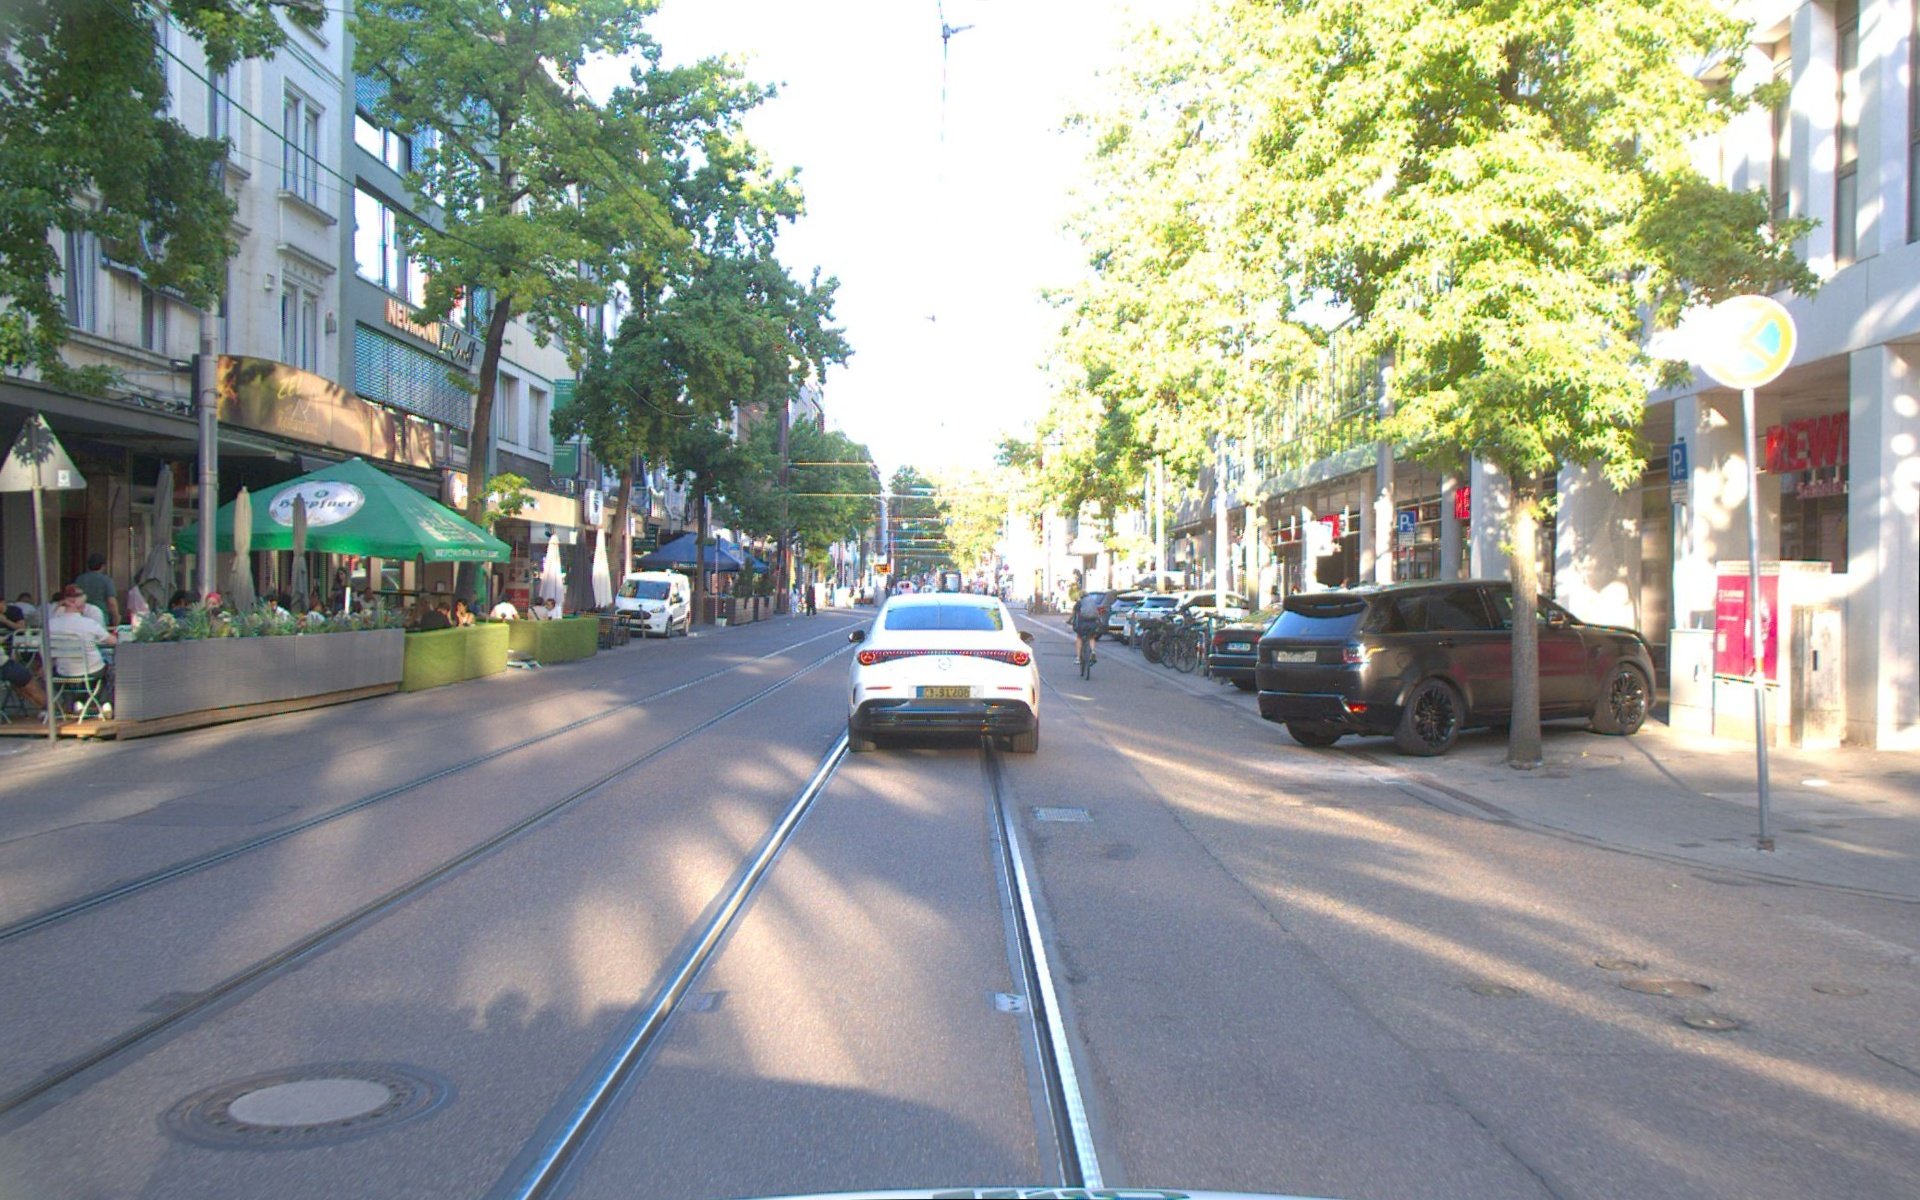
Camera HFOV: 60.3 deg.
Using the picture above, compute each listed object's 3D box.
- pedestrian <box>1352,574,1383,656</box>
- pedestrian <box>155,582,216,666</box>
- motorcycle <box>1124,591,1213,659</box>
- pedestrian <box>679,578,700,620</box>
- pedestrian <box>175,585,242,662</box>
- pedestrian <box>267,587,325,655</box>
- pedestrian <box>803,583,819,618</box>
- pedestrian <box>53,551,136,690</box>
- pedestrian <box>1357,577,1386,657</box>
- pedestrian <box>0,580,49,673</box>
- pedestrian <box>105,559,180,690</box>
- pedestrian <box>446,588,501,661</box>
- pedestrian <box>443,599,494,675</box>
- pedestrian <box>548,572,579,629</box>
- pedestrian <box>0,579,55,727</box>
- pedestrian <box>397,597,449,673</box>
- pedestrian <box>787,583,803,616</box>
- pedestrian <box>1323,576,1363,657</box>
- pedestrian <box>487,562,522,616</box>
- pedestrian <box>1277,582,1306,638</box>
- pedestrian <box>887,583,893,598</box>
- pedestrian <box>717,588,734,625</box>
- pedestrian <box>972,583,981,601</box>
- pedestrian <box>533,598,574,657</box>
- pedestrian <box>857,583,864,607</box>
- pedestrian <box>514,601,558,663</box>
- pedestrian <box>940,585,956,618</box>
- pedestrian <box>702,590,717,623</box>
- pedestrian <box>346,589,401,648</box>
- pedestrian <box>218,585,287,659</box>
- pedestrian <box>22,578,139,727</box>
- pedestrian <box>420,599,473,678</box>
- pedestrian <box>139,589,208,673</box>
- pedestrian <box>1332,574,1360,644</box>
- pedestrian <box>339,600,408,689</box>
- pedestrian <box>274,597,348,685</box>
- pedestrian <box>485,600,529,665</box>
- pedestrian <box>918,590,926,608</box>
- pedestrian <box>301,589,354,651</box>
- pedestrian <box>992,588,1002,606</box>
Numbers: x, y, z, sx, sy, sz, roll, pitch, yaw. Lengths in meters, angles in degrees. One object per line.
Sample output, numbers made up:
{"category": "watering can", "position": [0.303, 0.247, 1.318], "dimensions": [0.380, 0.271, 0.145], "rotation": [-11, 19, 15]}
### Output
{"category": "pedestrian", "position": [8.941, 0.326, 36.282], "dimensions": [0.512, 1.781, 0.559], "rotation": [-2, 0, 2]}
{"category": "pedestrian", "position": [-12.786, 0.395, 27.329], "dimensions": [0.606, 1.332, 0.697], "rotation": [3, 0, -1]}
{"category": "motorcycle", "position": [5.027, 0.598, 39.819], "dimensions": [2.301, 1.536, 0.845], "rotation": [-2, 0, -44]}
{"category": "pedestrian", "position": [-10.523, -0.041, 64.288], "dimensions": [0.659, 1.635, 0.719], "rotation": [1, 0, -1]}
{"category": "pedestrian", "position": [-12.819, 0.391, 28.237], "dimensions": [0.721, 1.253, 0.788], "rotation": [3, 0, -1]}
{"category": "pedestrian", "position": [-12.659, 0.392, 31.551], "dimensions": [0.721, 1.235, 0.788], "rotation": [3, 0, -1]}
{"category": "pedestrian", "position": [-7.022, 0.022, 77.852], "dimensions": [0.609, 1.577, 0.852], "rotation": [3, 0, 0]}
{"category": "pedestrian", "position": [-11.453, 0.265, 21.908], "dimensions": [0.664, 1.787, 0.697], "rotation": [2, 0, 1]}
{"category": "pedestrian", "position": [9.016, 0.366, 36.260], "dimensions": [0.506, 1.726, 0.550], "rotation": [1, 0, 4]}
{"category": "pedestrian", "position": [-12.402, 0.338, 21.629], "dimensions": [0.541, 1.182, 0.687], "rotation": [2, 0, 0]}
{"category": "pedestrian", "position": [-10.916, 0.326, 22.104], "dimensions": [0.606, 1.699, 0.697], "rotation": [2, 0, -1]}
{"category": "pedestrian", "position": [-9.467, 0.470, 32.215], "dimensions": [0.739, 1.367, 0.872], "rotation": [3, 0, -1]}
{"category": "pedestrian", "position": [-8.528, 0.634, 28.736], "dimensions": [0.606, 1.266, 0.697], "rotation": [3, 0, -1]}
{"category": "pedestrian", "position": [-11.435, 0.000, 47.692], "dimensions": [0.634, 1.601, 0.700], "rotation": [3, 0, -1]}
{"category": "pedestrian", "position": [-9.486, 0.501, 16.264], "dimensions": [0.675, 1.410, 0.807], "rotation": [2, 0, 1]}
{"category": "pedestrian", "position": [-9.328, 0.598, 28.743], "dimensions": [0.606, 1.266, 0.697], "rotation": [3, 0, -1]}
{"category": "pedestrian", "position": [-7.672, -0.024, 76.959], "dimensions": [0.609, 1.535, 0.833], "rotation": [3, 0, 0]}
{"category": "pedestrian", "position": [8.318, 0.355, 35.915], "dimensions": [0.667, 1.726, 0.548], "rotation": [1, 0, -13]}
{"category": "pedestrian", "position": [-13.254, -0.321, 48.136], "dimensions": [0.754, 1.492, 0.764], "rotation": [3, 0, -3]}
{"category": "pedestrian", "position": [9.969, 0.290, 49.770], "dimensions": [0.699, 1.652, 0.882], "rotation": [-1, 0, 1]}
{"category": "pedestrian", "position": [-7.628, -1.052, 181.091], "dimensions": [0.646, 1.627, 0.573], "rotation": [0, 0, -1]}
{"category": "pedestrian", "position": [-8.797, 0.249, 62.086], "dimensions": [0.538, 1.380, 0.582], "rotation": [1, 0, -1]}
{"category": "pedestrian", "position": [1.715, -0.819, 174.220], "dimensions": [0.941, 1.816, 0.803], "rotation": [-1, 0, -1]}
{"category": "pedestrian", "position": [-8.818, 0.589, 35.905], "dimensions": [0.643, 1.214, 0.798], "rotation": [3, 0, -1]}
{"category": "pedestrian", "position": [-8.250, -0.418, 137.003], "dimensions": [0.527, 1.962, 0.573], "rotation": [0, 0, 3]}
{"category": "pedestrian", "position": [-8.960, 0.667, 34.951], "dimensions": [0.643, 1.266, 0.872], "rotation": [3, 0, -1]}
{"category": "pedestrian", "position": [-0.650, 0.081, 91.778], "dimensions": [0.824, 1.832, 0.790], "rotation": [2, 0, 1]}
{"category": "pedestrian", "position": [-9.612, 0.256, 63.444], "dimensions": [0.484, 1.249, 0.535], "rotation": [1, 0, -1]}
{"category": "pedestrian", "position": [-12.596, 0.392, 35.523], "dimensions": [0.737, 1.209, 1.065], "rotation": [3, 0, -1]}
{"category": "pedestrian", "position": [-12.637, 0.382, 29.549], "dimensions": [0.761, 1.258, 0.945], "rotation": [3, 0, -1]}
{"category": "pedestrian", "position": [-8.718, 0.508, 16.419], "dimensions": [0.675, 1.410, 0.807], "rotation": [2, 0, 1]}
{"category": "pedestrian", "position": [-8.623, 0.639, 27.777], "dimensions": [0.606, 1.266, 0.697], "rotation": [3, 0, -1]}
{"category": "pedestrian", "position": [-12.242, 0.471, 25.754], "dimensions": [0.656, 1.264, 0.798], "rotation": [2, 0, -1]}
{"category": "pedestrian", "position": [9.995, 0.234, 42.879], "dimensions": [0.545, 1.781, 0.525], "rotation": [-2, 0, 0]}
{"category": "pedestrian", "position": [-8.785, 0.657, 24.809], "dimensions": [0.693, 1.281, 0.772], "rotation": [2, 0, 2]}
{"category": "pedestrian", "position": [-9.770, 0.609, 24.921], "dimensions": [0.693, 1.281, 0.869], "rotation": [2, 0, 2]}
{"category": "pedestrian", "position": [-9.574, 0.682, 34.990], "dimensions": [0.643, 1.315, 0.798], "rotation": [3, 0, -1]}
{"category": "pedestrian", "position": [-4.094, -0.113, 177.826], "dimensions": [0.784, 1.813, 0.849], "rotation": [2, 0, -1]}
{"category": "pedestrian", "position": [-12.599, 0.395, 32.978], "dimensions": [0.686, 1.188, 0.788], "rotation": [3, 0, -1]}
{"category": "pedestrian", "position": [3.828, -0.307, 170.217], "dimensions": [0.941, 1.816, 0.803], "rotation": [-1, 0, -1]}
